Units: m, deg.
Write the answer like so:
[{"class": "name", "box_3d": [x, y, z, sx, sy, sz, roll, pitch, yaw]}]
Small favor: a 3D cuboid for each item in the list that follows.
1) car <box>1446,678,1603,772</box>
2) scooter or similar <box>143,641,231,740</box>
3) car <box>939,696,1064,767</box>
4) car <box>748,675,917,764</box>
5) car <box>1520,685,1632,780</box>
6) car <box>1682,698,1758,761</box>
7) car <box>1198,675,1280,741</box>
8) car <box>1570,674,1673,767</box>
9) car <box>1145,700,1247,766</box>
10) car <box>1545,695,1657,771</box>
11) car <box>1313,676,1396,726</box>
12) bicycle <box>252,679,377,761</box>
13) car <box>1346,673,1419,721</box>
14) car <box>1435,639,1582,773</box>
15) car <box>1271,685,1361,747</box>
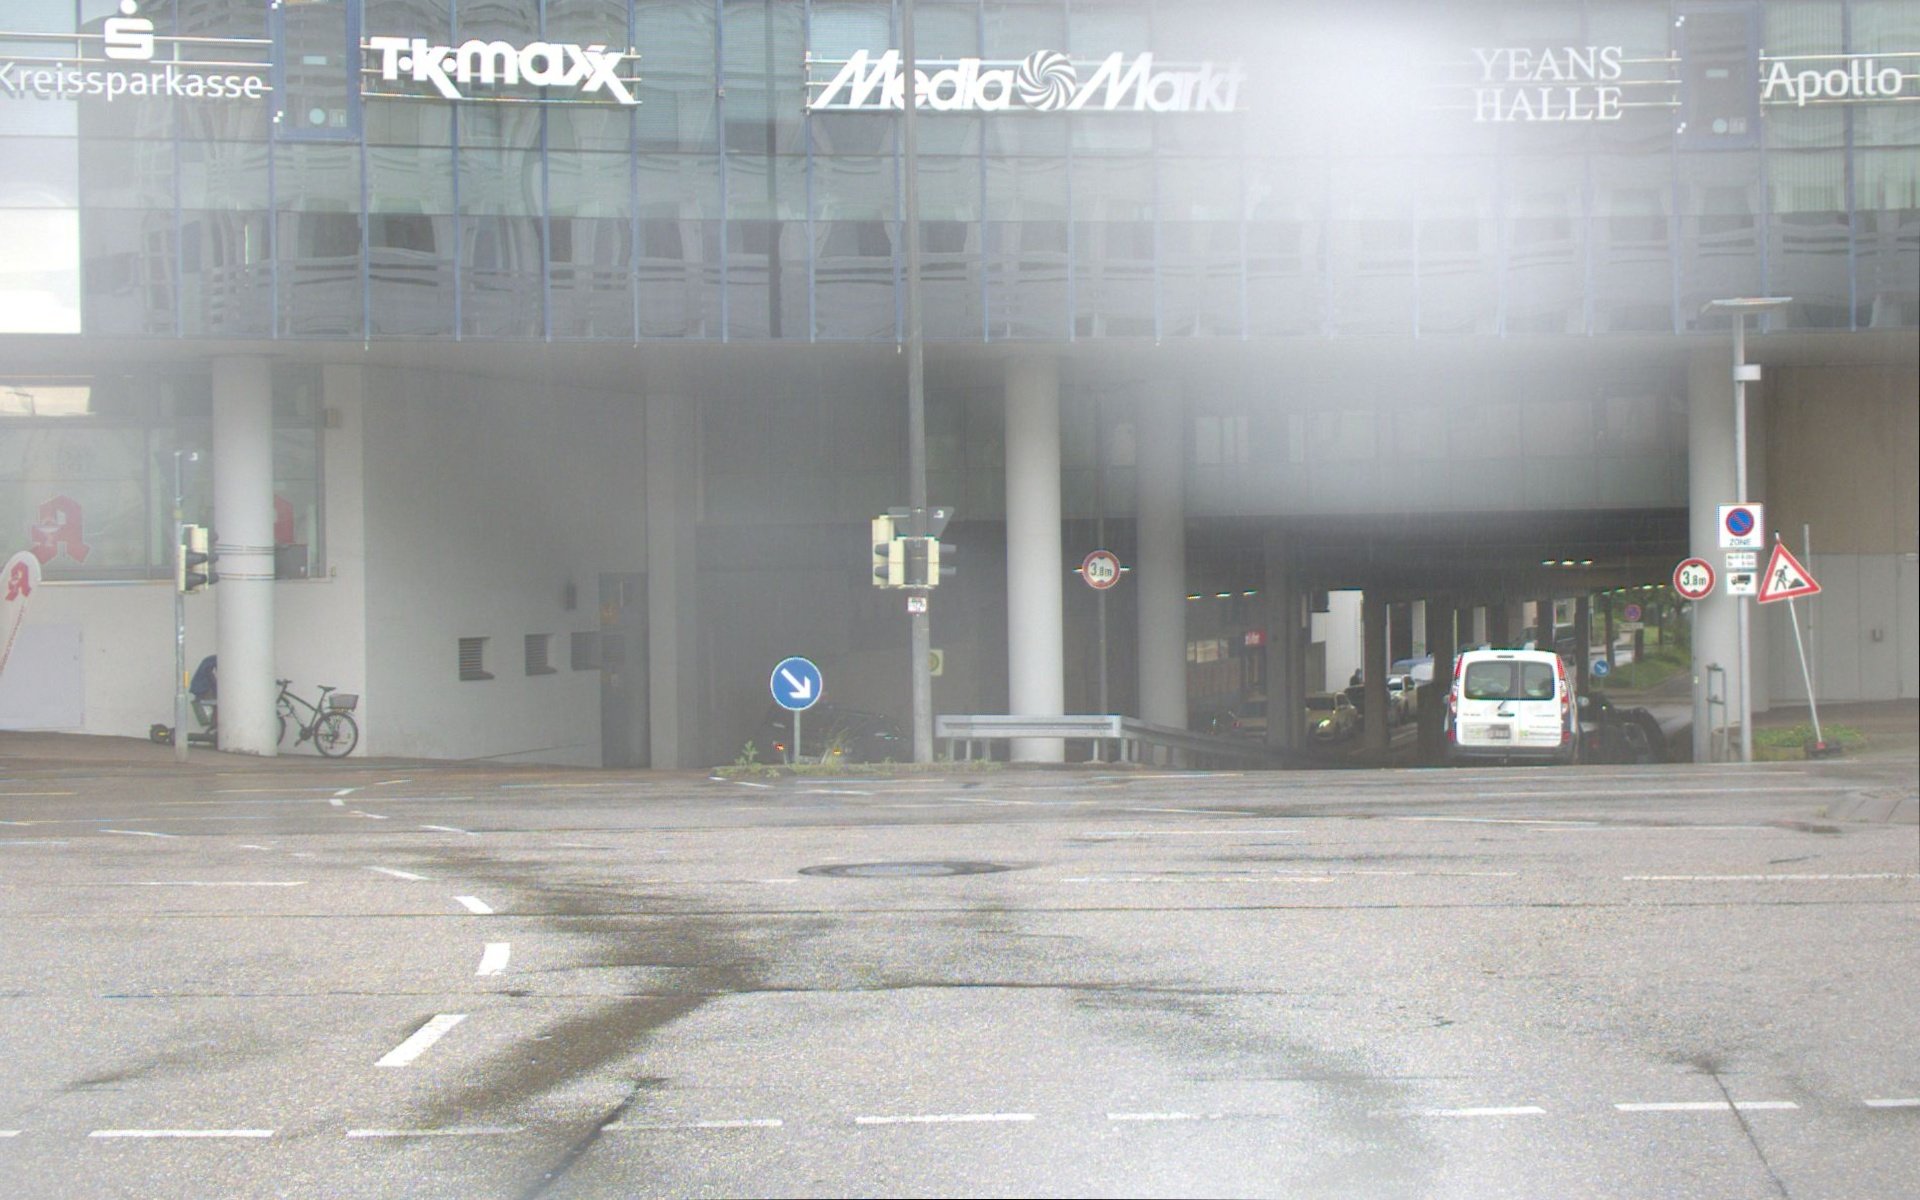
[{"class": "car", "box_3d": [9.302, 2.086, 56.443, 1.759, 1.459, 3.938, -2, -3, 21]}, {"class": "scooter or similar", "box_3d": [-10.837, 1.269, 48.214, 1.166, 1.368, 0.489, 1, 0, -15]}, {"class": "car", "box_3d": [0.925, 2.846, 74.435, 1.772, 1.459, 3.872, -1, -2, 15]}, {"class": "car", "box_3d": [-2.281, 2.200, 62.531, 1.894, 1.465, 4.023, -1, -4, 16]}, {"class": "car", "box_3d": [10.959, 2.351, 61.005, 1.634, 1.606, 4.259, -2, -2, 14]}, {"class": "car", "box_3d": [20.119, 3.400, 90.906, 1.889, 1.486, 3.838, 1, 0, 13]}, {"class": "car", "box_3d": [7.827, 3.003, 96.095, 1.837, 1.722, 3.998, -1, 0, 11]}, {"class": "car", "box_3d": [13.643, 2.456, 70.764, 1.792, 1.764, 3.997, -1, -1, 14]}, {"class": "car", "box_3d": [6.290, 3.524, 91.293, 1.916, 1.582, 3.936, -1, -1, 15]}, {"class": "car", "box_3d": [12.315, 2.576, 65.902, 1.781, 1.396, 3.996, -1, -3, 15]}, {"class": "car", "box_3d": [12.593, 3.205, 109.520, 1.995, 1.459, 3.997, -1, -1, 15]}, {"class": "bicycle", "box_3d": [-9.102, 1.695, 48.507, 1.581, 1.014, 0.452, 6, -2, -31]}, {"class": "car", "box_3d": [14.091, 3.221, 114.602, 1.994, 1.459, 3.998, -1, -1, 13]}, {"class": "car", "box_3d": [7.800, 1.484, 48.638, 1.926, 1.791, 4.294, -1, -1, 10]}, {"class": "car", "box_3d": [10.570, 3.408, 101.883, 1.995, 1.658, 3.997, 1, 0, 15]}]
